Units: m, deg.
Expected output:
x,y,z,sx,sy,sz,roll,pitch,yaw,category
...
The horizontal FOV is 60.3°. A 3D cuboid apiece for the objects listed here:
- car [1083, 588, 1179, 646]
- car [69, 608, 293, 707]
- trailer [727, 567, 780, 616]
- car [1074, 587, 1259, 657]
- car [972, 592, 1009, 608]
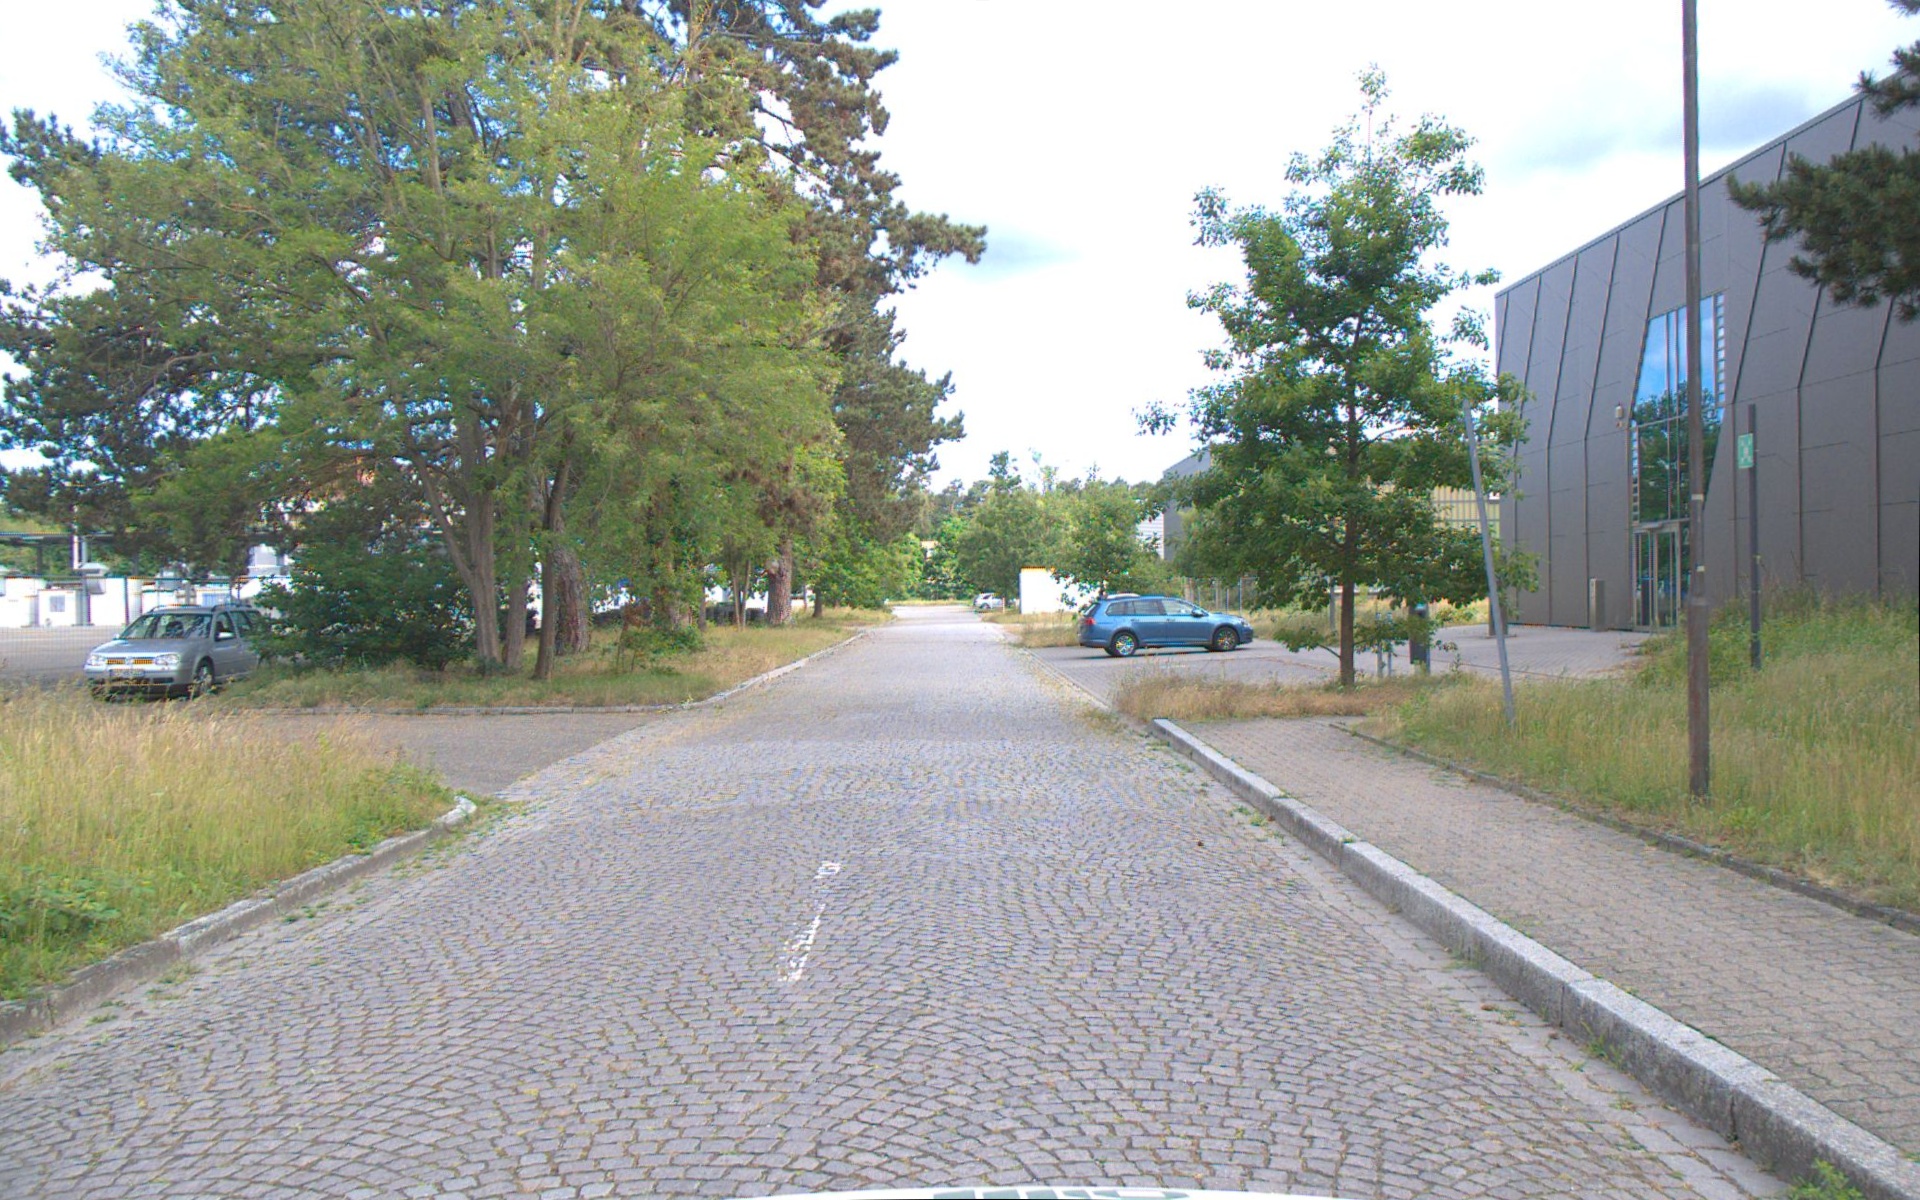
x,y,z,sx,sy,sz,roll,pitch,yaw,category
5.111,0.501,49.744,2.655,1.583,1.653,-3,0,0,car
-12.802,0.885,27.500,1.788,1.441,4.419,-1,0,-3,car
-16.081,-0.679,129.302,2.571,3.661,10.179,-1,0,2,trailer
5.243,0.541,42.404,4.402,1.501,1.829,-3,0,-3,car
2.920,-0.018,159.478,3.451,1.386,1.622,-3,0,0,car
